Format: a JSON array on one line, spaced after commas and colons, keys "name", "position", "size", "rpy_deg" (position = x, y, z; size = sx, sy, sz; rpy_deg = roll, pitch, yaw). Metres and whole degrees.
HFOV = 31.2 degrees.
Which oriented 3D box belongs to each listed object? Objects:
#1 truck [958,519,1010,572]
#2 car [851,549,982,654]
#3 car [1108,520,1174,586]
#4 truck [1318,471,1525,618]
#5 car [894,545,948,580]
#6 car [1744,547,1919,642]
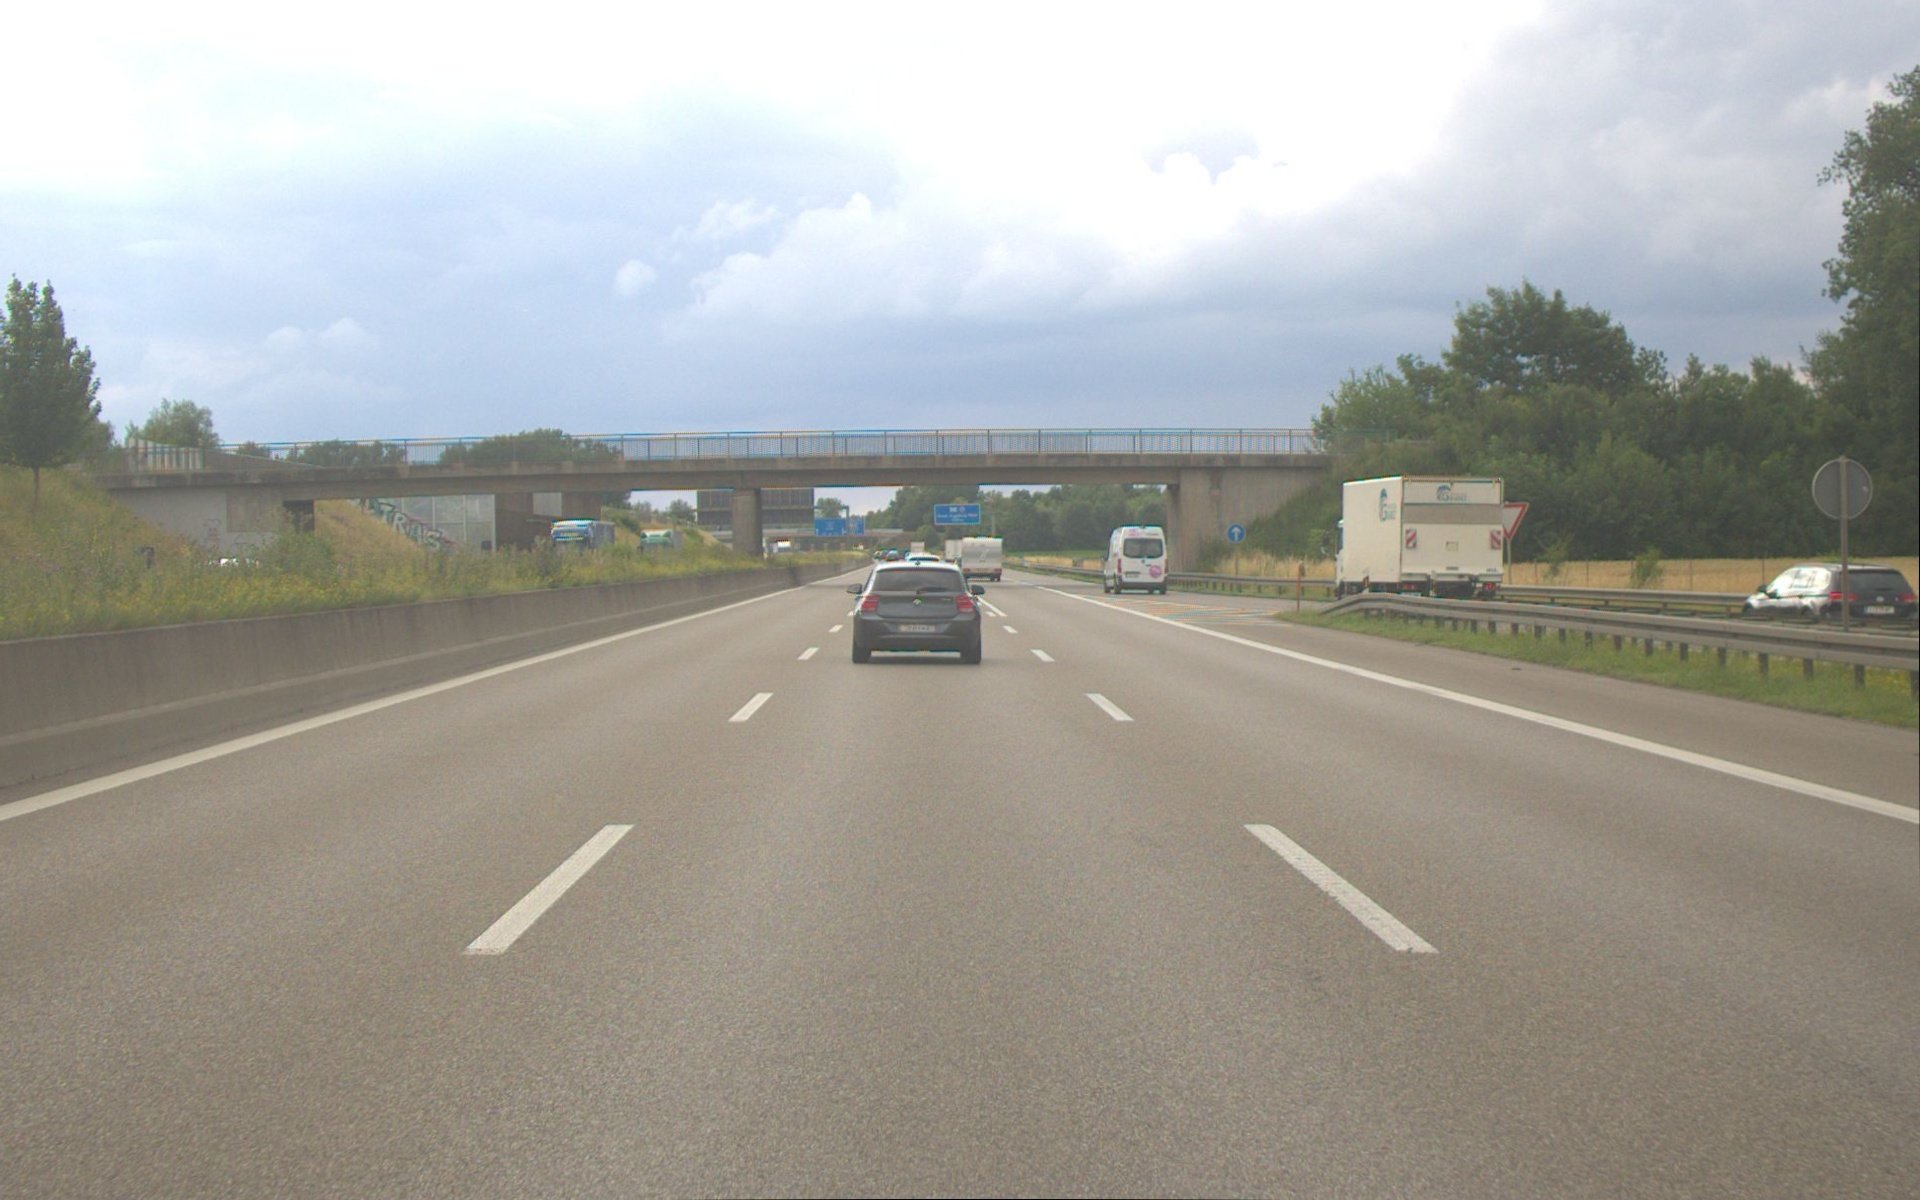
[{"name": "truck", "position": [1.352, -3.206, 203.058], "size": [2.710, 2.954, 12.448], "rpy_deg": [1, 1, -1]}, {"name": "car", "position": [-0.611, -0.008, 48.252], "size": [1.743, 1.384, 4.000], "rpy_deg": [1, 1, -1]}, {"name": "car", "position": [7.112, -1.862, 135.643], "size": [2.221, 2.559, 6.256], "rpy_deg": [0, 1, -1]}, {"name": "truck", "position": [11.521, -1.383, 86.766], "size": [3.104, 3.459, 8.893], "rpy_deg": [1, 1, -6]}, {"name": "car", "position": [-1.513, -1.434, 131.579], "size": [1.993, 1.294, 4.000], "rpy_deg": [-1, 1, -1]}, {"name": "car", "position": [15.300, -0.124, 59.756], "size": [1.917, 1.545, 4.924], "rpy_deg": [-1, 1, -4]}]
